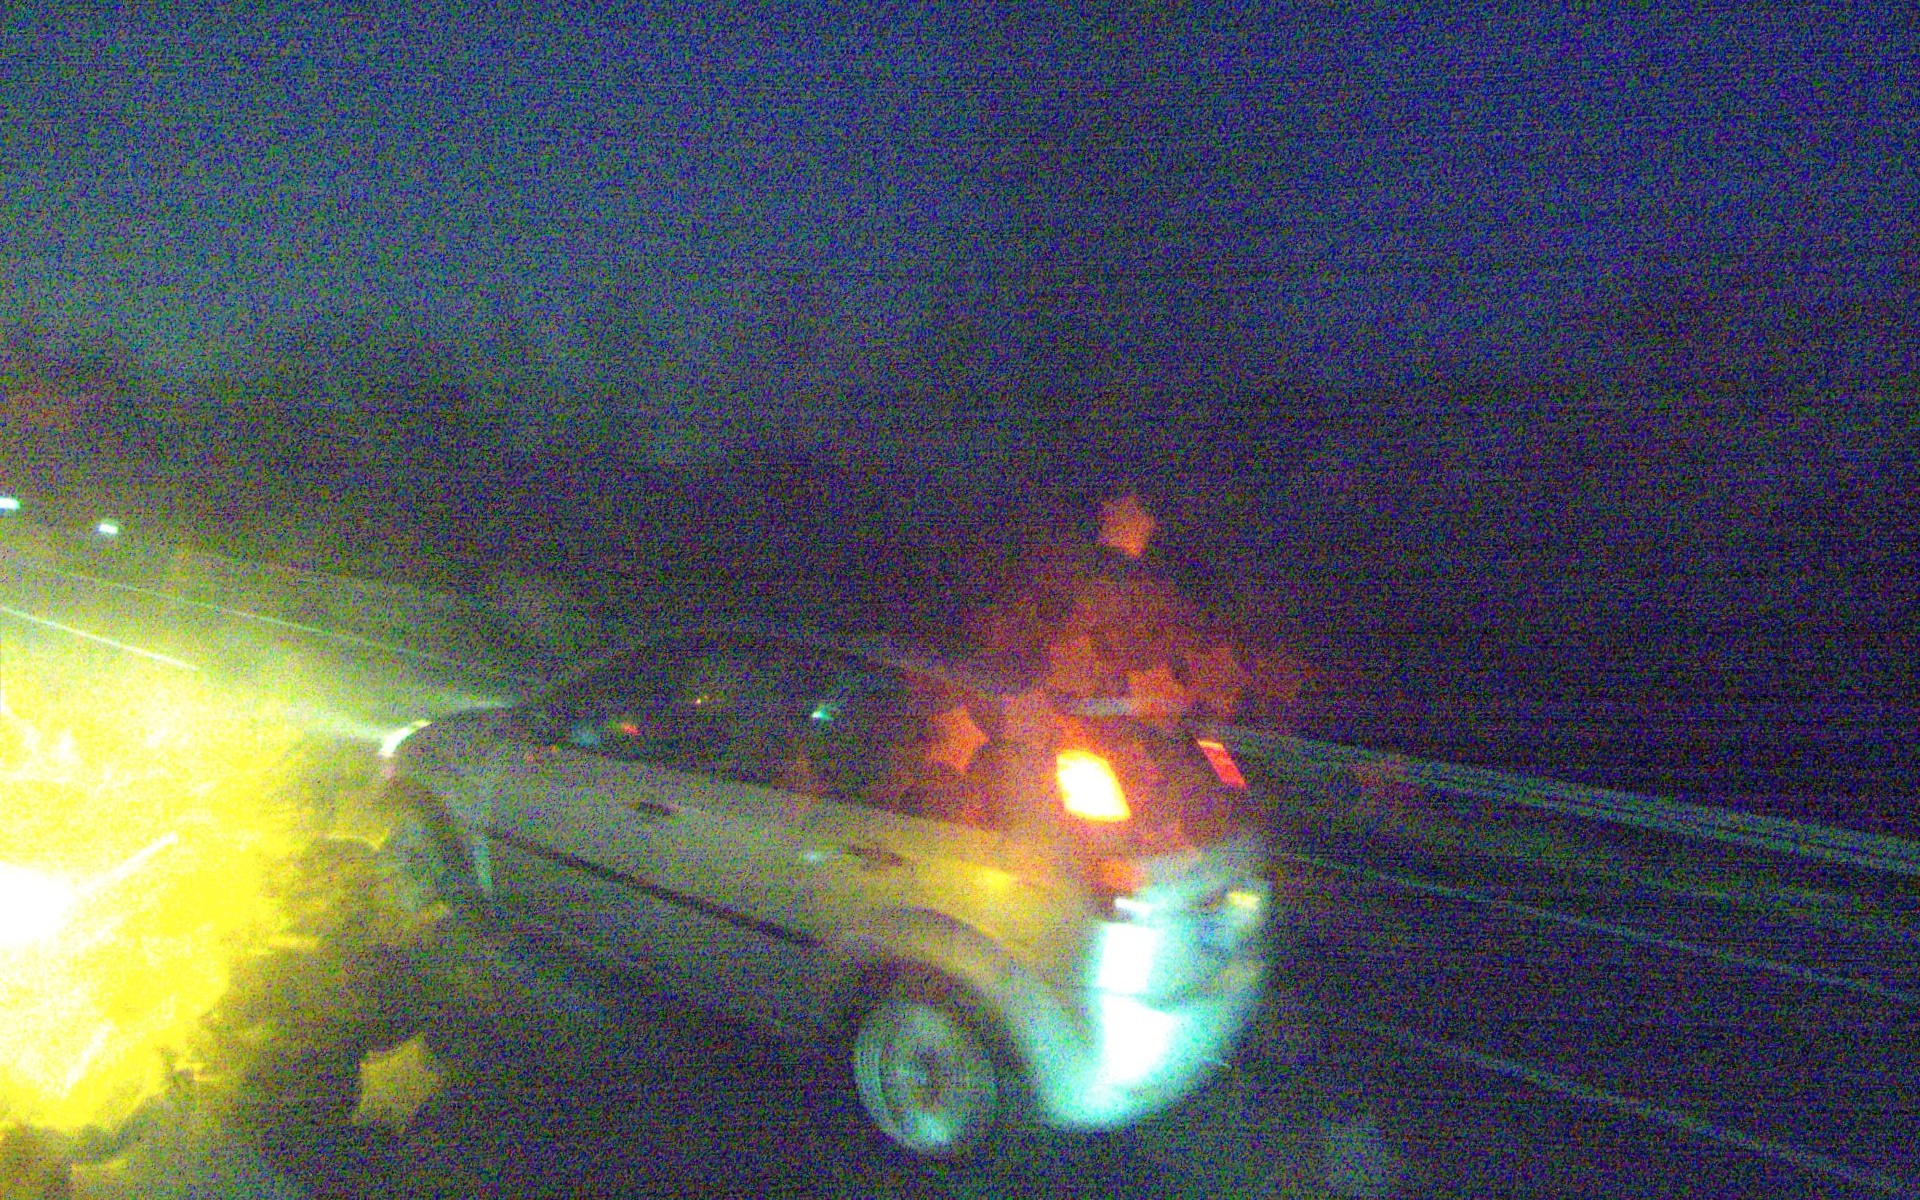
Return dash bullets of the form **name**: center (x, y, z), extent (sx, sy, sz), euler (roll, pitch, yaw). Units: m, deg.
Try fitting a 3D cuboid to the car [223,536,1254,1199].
- **car**: center (-1.124, 0.723, 4.300), extent (4.126, 1.474, 1.773), euler (7, -1, 32)
